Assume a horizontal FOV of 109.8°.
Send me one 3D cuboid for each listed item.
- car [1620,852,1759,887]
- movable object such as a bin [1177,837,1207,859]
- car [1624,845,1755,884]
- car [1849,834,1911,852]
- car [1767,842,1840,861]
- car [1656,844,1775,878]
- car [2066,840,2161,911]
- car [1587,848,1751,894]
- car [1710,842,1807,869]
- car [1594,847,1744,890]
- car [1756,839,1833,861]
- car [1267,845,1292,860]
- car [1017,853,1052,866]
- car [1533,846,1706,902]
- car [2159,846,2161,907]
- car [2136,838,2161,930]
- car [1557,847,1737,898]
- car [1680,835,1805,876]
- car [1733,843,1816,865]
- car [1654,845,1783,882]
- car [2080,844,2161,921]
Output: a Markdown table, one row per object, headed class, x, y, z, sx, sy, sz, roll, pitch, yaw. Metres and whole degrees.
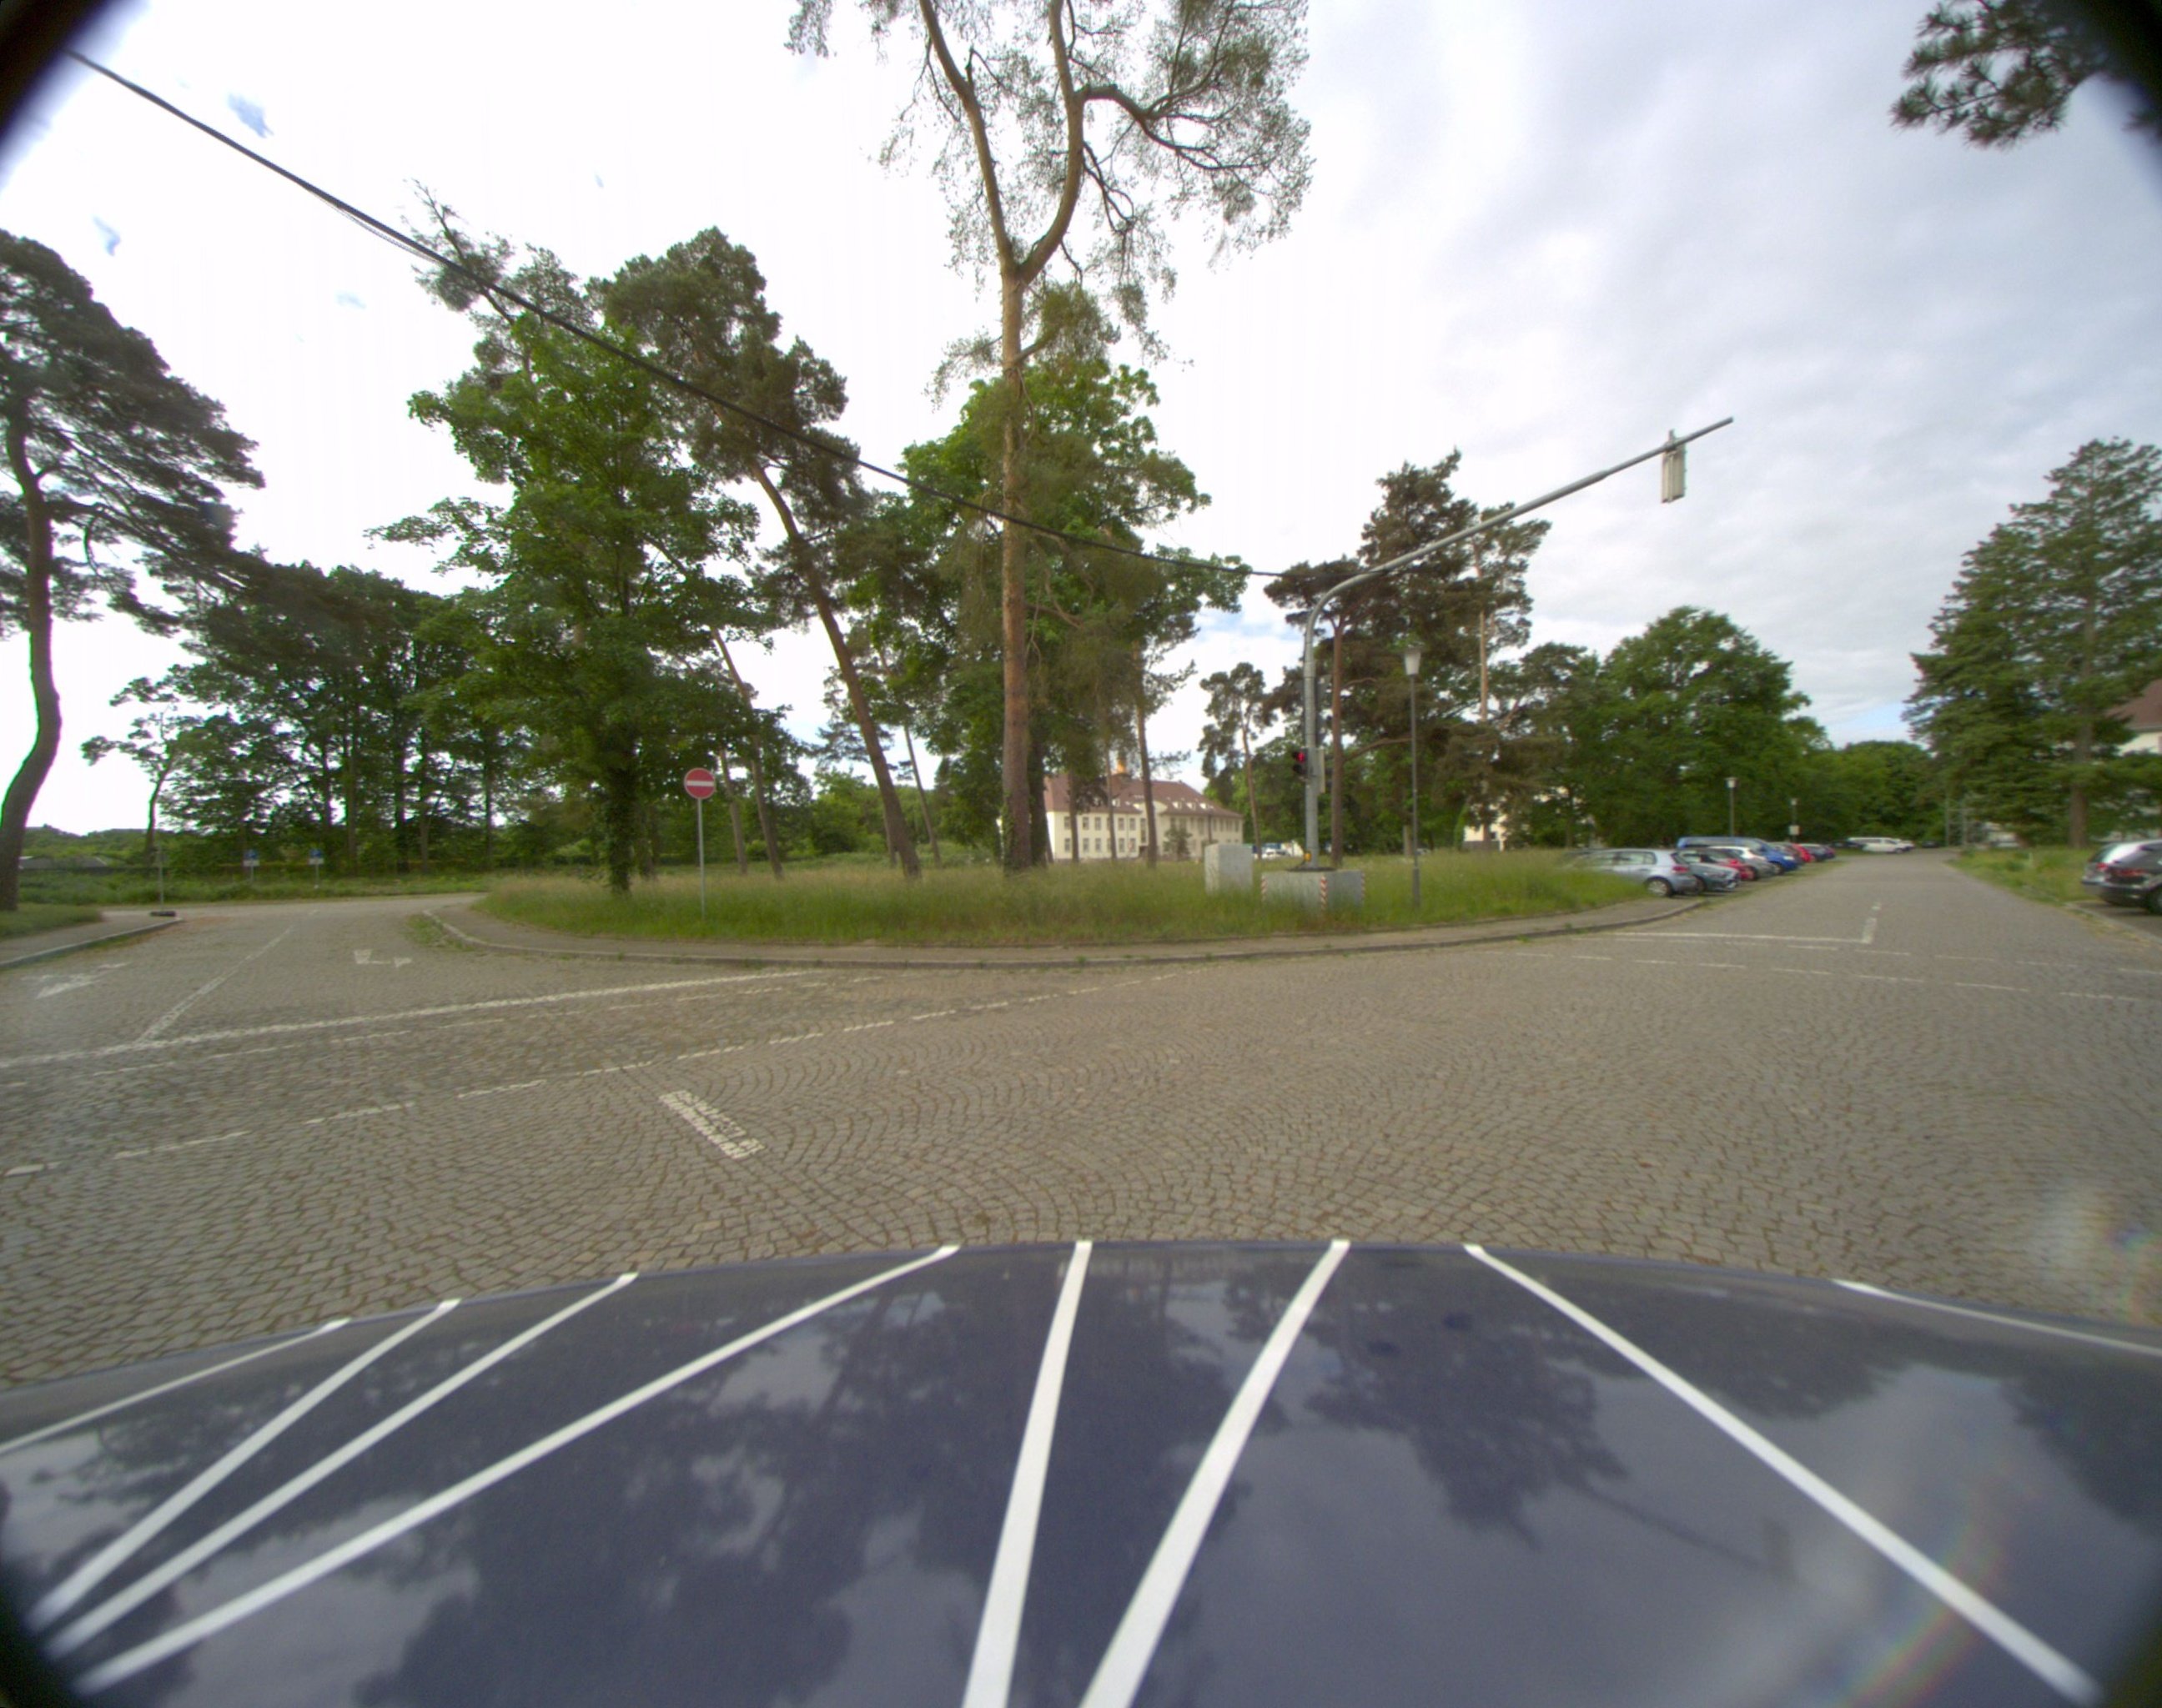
| class | x | y | z | sx | sy | sz | roll | pitch | yaw |
| --- | --- | --- | --- | --- | --- | --- | --- | --- | --- |
| car | 23.757 | 0.563 | 29.799 | 1.553 | 1.233 | 4.042 | -1 | 1 | -42 |
| movable object such as a bin | 20.479 | -1.064 | 140.961 | 2.056 | 3.748 | 5.449 | -2 | 0 | -39 |
| car | 25.459 | 0.384 | 31.896 | 1.603 | 1.508 | 4.042 | -1 | 1 | -40 |
| car | 97.507 | -1.292 | 92.787 | 5.136 | 2.137 | 1.778 | 1 | 2 | 45 |
| car | 59.260 | -0.202 | 62.367 | 1.729 | 1.524 | 4.086 | -1 | 1 | -35 |
| car | 29.758 | 0.276 | 35.728 | 1.603 | 1.508 | 4.042 | -1 | 1 | -40 |
| car | 24.098 | 0.401 | 15.951 | 3.952 | 1.461 | 1.588 | -4 | -2 | 45 |
| car | 20.412 | 0.522 | 26.530 | 1.720 | 1.465 | 4.238 | -1 | 1 | -40 |
| car | 40.378 | 0.060 | 45.369 | 1.657 | 1.584 | 4.075 | -1 | 1 | -40 |
| car | 21.967 | 0.502 | 28.508 | 1.720 | 1.473 | 4.174 | -1 | 1 | -42 |
| car | 55.665 | -0.317 | 59.330 | 1.729 | 1.685 | 4.076 | -1 | 1 | -35 |
| car | 32.523 | -0.226 | 124.525 | 4.456 | 2.350 | 1.858 | -2 | 0 | -42 |
| car | -7.629 | 0.900 | 123.861 | 5.780 | 1.949 | 2.199 | -2 | 0 | 43 |
| car | 16.265 | 0.537 | 23.086 | 1.701 | 1.421 | 4.001 | -1 | 3 | -44 |
| car | 18.735 | 0.506 | 10.132 | 1.871 | 1.479 | 4.742 | 0 | -2 | -45 |
| car | 20.571 | 0.443 | 11.913 | 4.365 | 1.588 | 1.876 | -3 | -1 | 42 |
| car | 18.317 | 0.539 | 24.745 | 1.667 | 1.376 | 4.428 | -1 | 3 | -44 |
| car | 33.991 | 0.025 | 39.134 | 1.915 | 1.995 | 4.592 | -2 | 2 | -40 |
| car | 47.868 | -0.046 | 52.496 | 1.730 | 1.436 | 4.075 | -1 | 1 | -41 |
| car | 27.928 | 0.373 | 33.390 | 1.703 | 1.508 | 4.089 | -1 | 1 | -40 |
| car | 22.260 | 0.465 | 13.991 | 1.725 | 1.415 | 4.438 | -2 | -2 | -44 |
